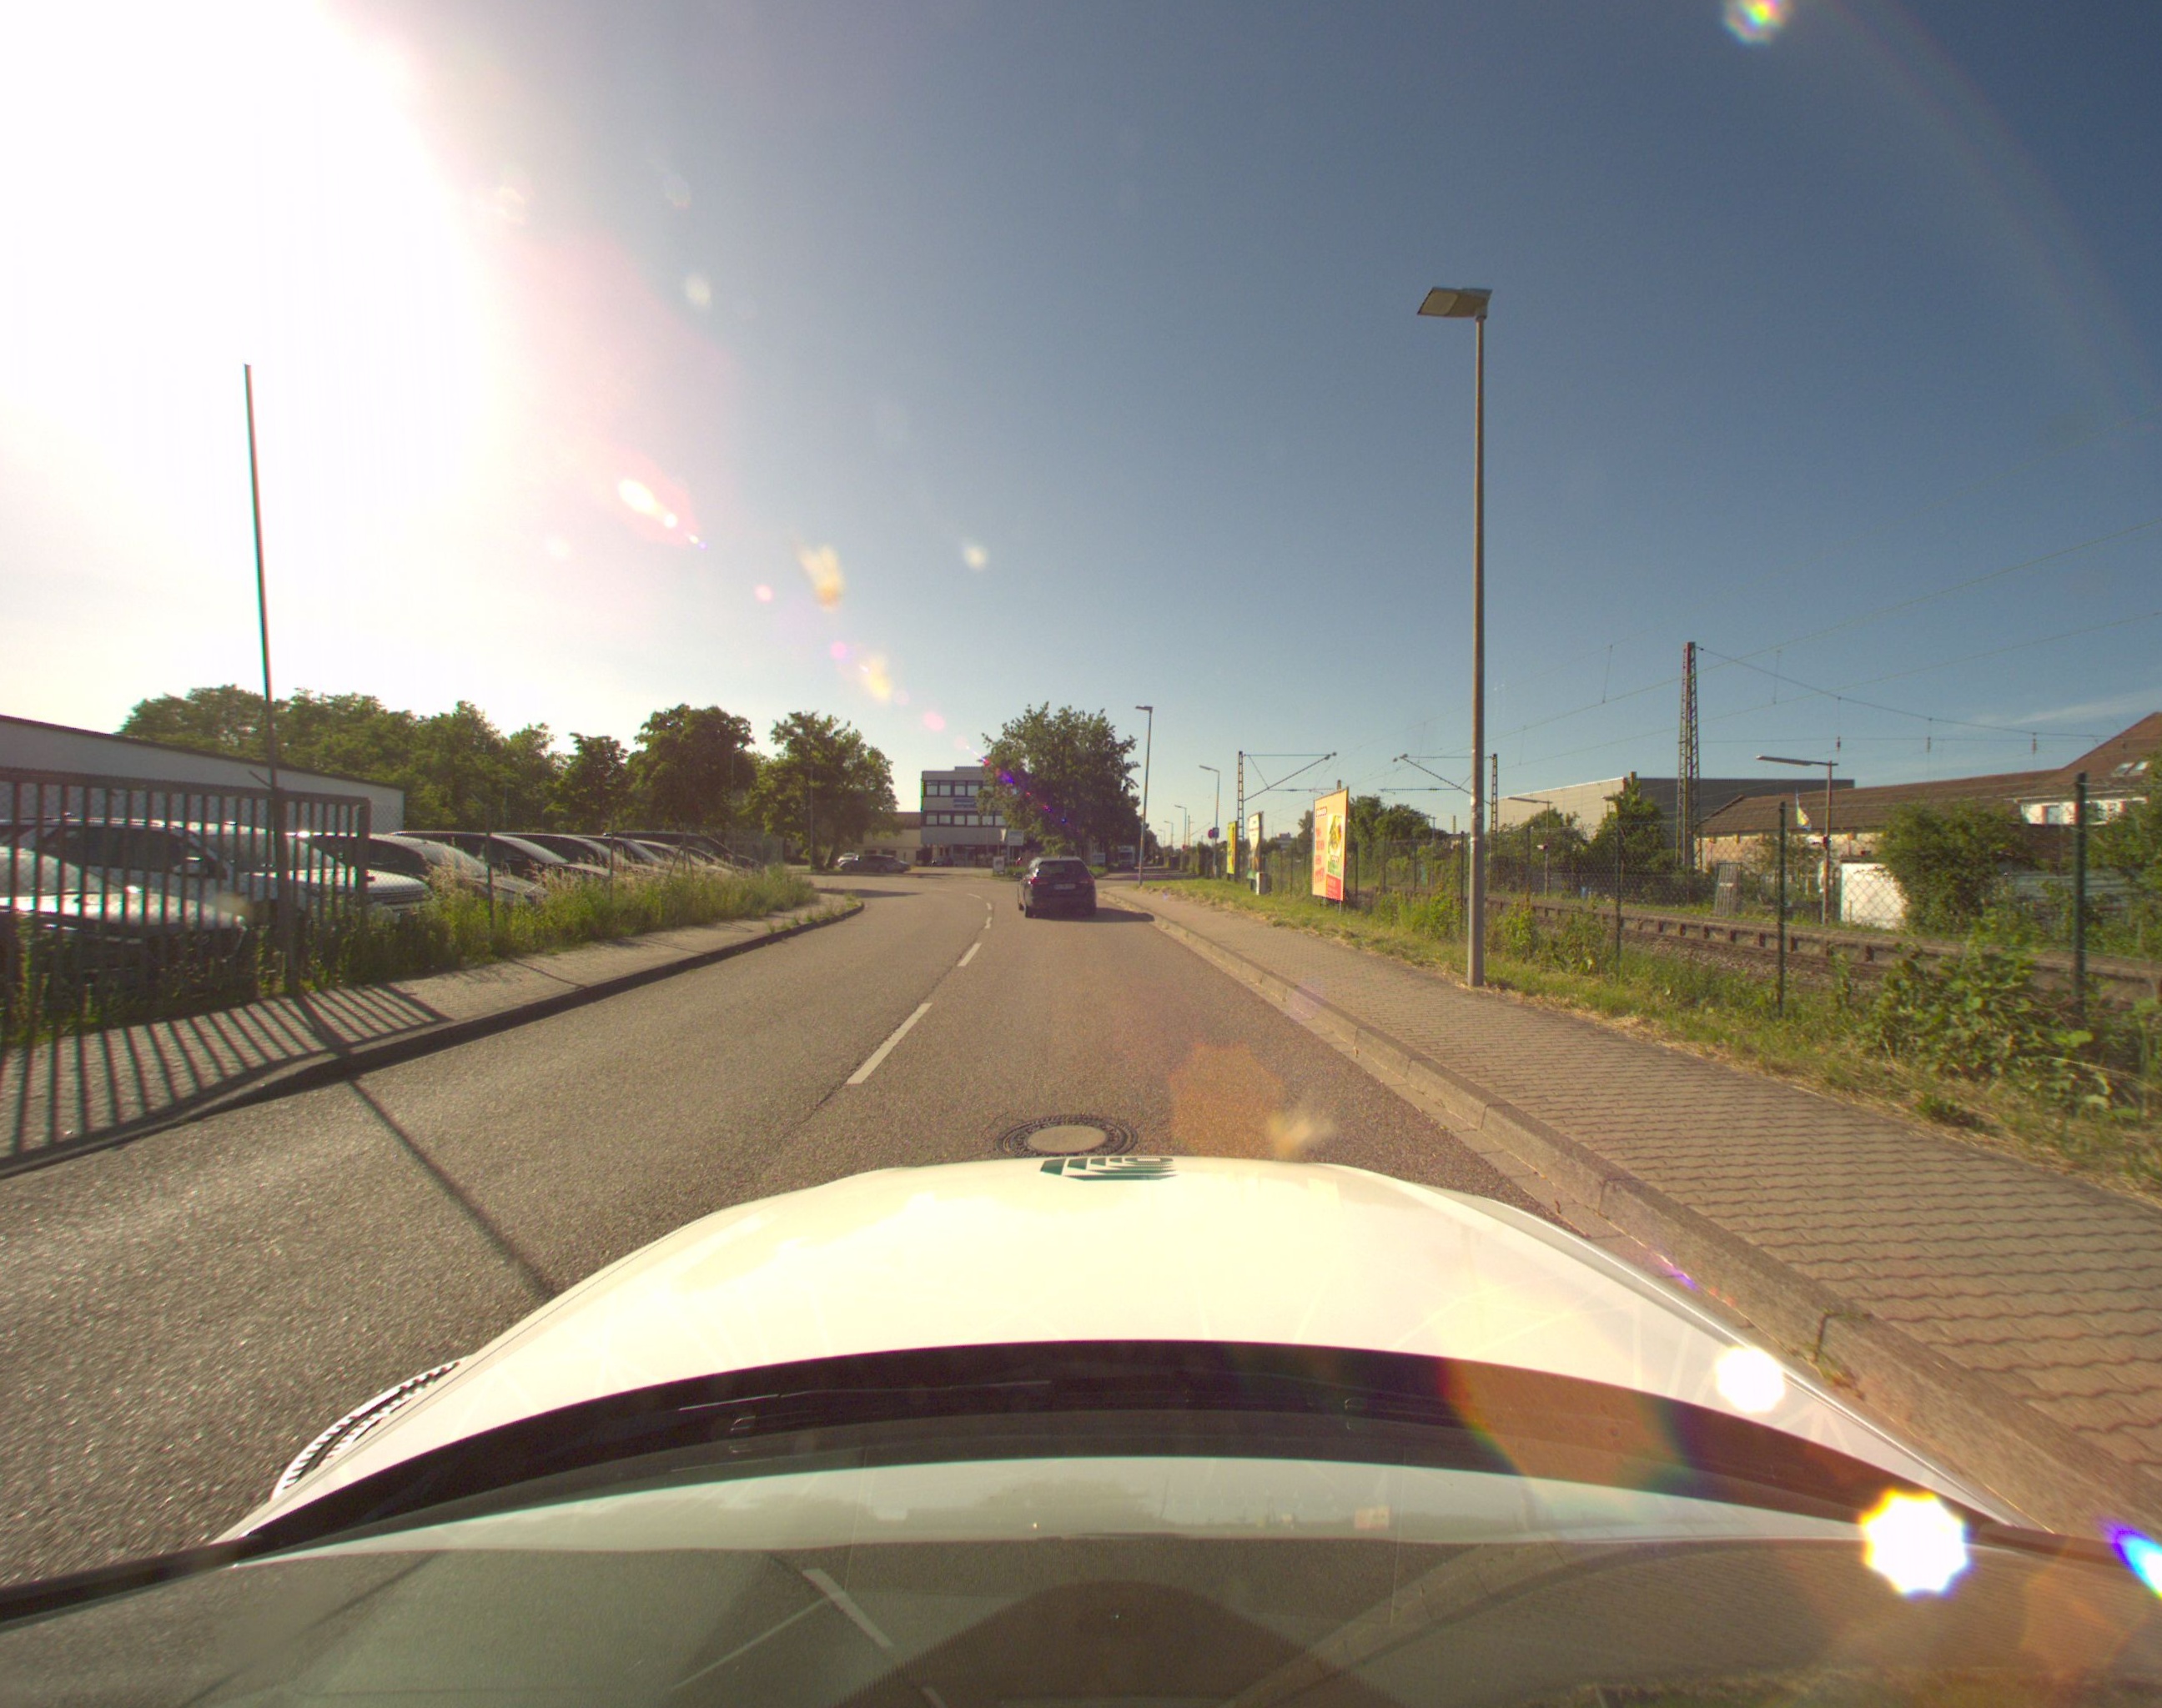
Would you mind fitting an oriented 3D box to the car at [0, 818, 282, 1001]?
[{"bbox_3d":[-10.624,0.445,7.595,4.378,1.507,1.839,1,0,-2],"label":"car"}]

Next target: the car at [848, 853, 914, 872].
[{"bbox_3d":[-16.347,0.716,66.703,4.889,1.484,2.002,1,0,3],"label":"car"}]

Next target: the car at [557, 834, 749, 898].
[{"bbox_3d":[-11.747,0.336,22.672,4.398,1.648,1.830,1,0,-16],"label":"car"}]

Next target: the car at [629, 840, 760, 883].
[{"bbox_3d":[-15.614,0.294,33.106,1.817,1.648,4.431,0,0,40],"label":"car"}]

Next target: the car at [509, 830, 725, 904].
[{"bbox_3d":[-11.220,0.298,20.022,4.414,1.648,1.824,1,0,-28],"label":"car"}]

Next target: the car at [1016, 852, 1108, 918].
[{"bbox_3d":[-0.626,0.720,21.362,1.941,1.488,4.554,-1,0,-7],"label":"car"}]

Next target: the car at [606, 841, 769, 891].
[{"bbox_3d":[-12.259,0.357,25.469,4.419,1.436,1.822,1,0,-33],"label":"car"}]

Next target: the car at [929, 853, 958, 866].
[{"bbox_3d":[-16.074,0.630,95.684,1.983,1.484,4.937,1,1,7],"label":"car"}]

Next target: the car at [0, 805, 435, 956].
[{"bbox_3d":[-10.879,0.301,9.907,4.384,1.648,1.836,1,0,-6],"label":"car"}]

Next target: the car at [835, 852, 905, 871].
[{"bbox_3d":[-16.549,0.608,64.105,4.889,1.426,2.002,1,0,3],"label":"car"}]

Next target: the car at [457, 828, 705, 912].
[{"bbox_3d":[-10.720,0.331,17.859,4.414,1.648,1.824,1,0,-28],"label":"car"}]

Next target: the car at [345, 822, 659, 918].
[{"bbox_3d":[-10.624,0.297,15.313,4.391,1.648,1.834,1,0,-11],"label":"car"}]

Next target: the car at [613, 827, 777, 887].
[{"bbox_3d":[-13.091,0.112,27.709,4.868,1.892,1.822,1,0,-32],"label":"car"}]

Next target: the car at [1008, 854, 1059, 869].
[{"bbox_3d":[-4.803,0.768,83.425,4.882,1.484,2.005,1,1,8],"label":"car"}]

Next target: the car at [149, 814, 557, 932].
[{"bbox_3d":[-10.991,0.288,12.643,4.387,1.648,1.835,1,0,-8],"label":"car"}]

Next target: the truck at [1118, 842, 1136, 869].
[{"bbox_3d":[7.111,0.294,127.102,2.602,3.885,13.540,1,0,3],"label":"truck"}]
